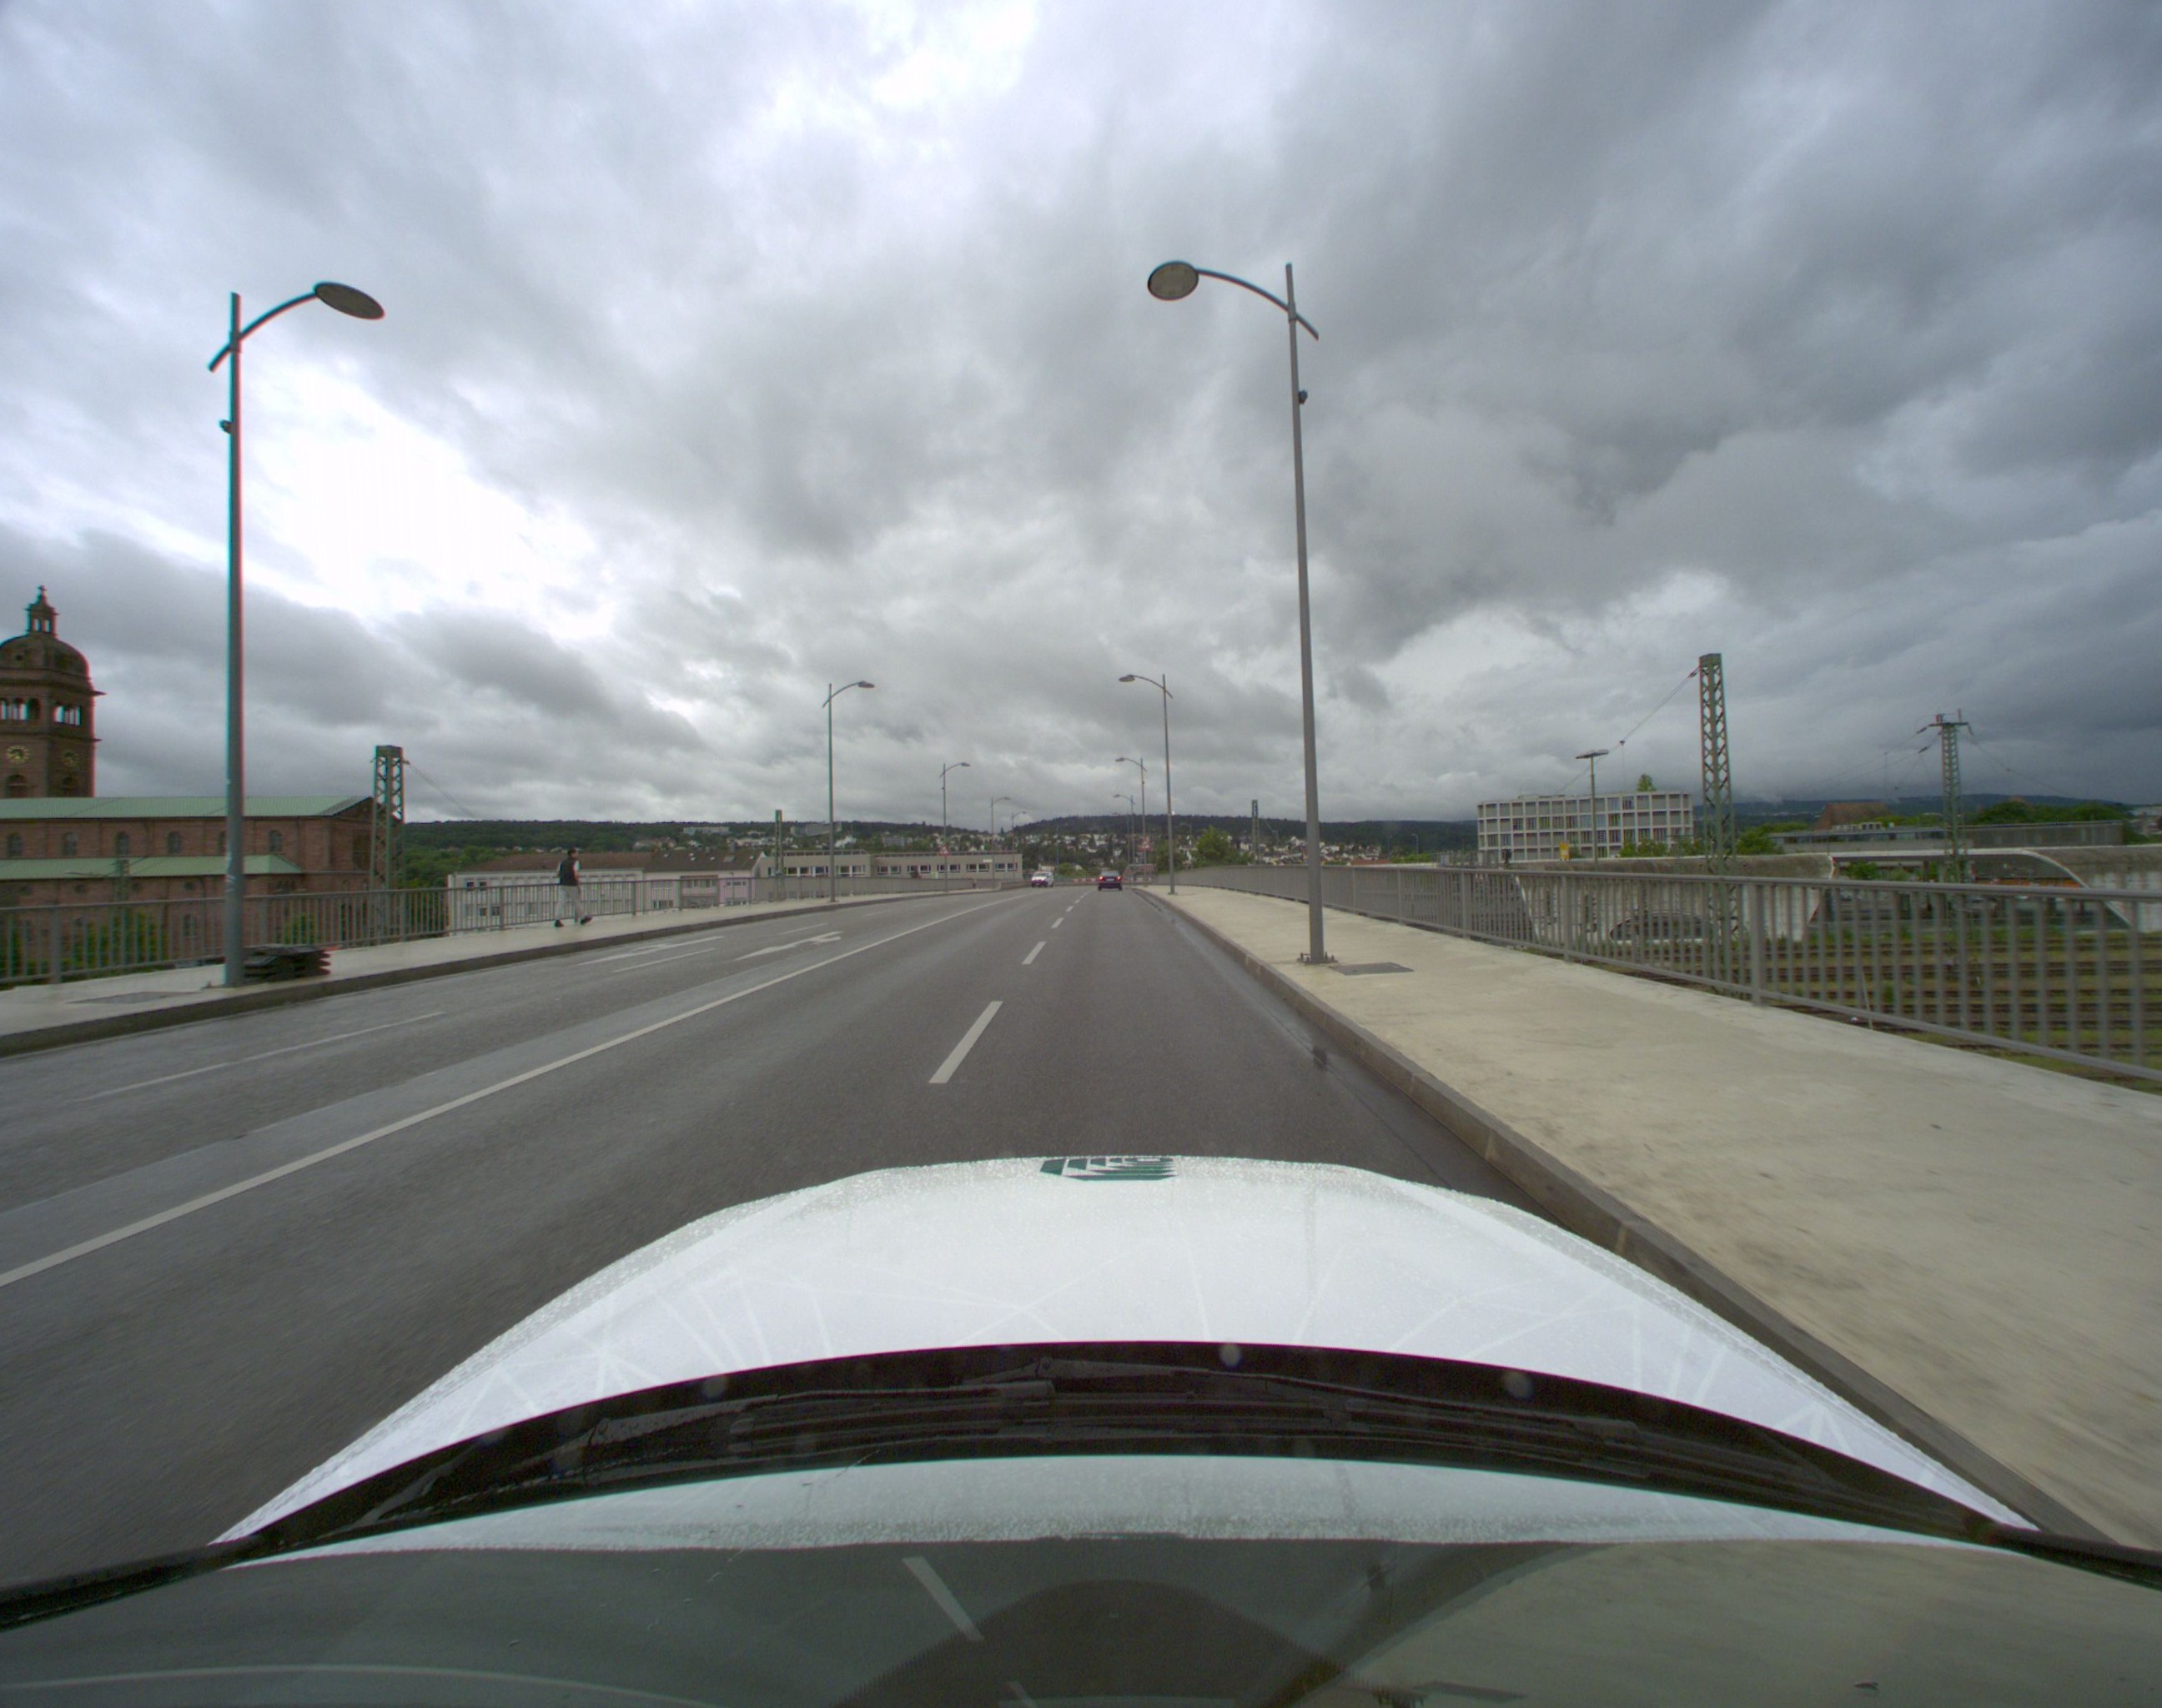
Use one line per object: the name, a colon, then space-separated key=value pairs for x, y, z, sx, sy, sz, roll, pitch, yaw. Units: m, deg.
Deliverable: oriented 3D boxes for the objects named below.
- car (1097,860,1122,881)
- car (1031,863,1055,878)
car: x=2.001 y=1.183 z=57.357 sx=1.699 sy=1.420 sz=3.726 roll=0 pitch=-1 yaw=1
car: x=-4.715 y=2.018 z=100.665 sx=1.874 sy=1.822 sz=4.972 roll=-1 pitch=-2 yaw=11
